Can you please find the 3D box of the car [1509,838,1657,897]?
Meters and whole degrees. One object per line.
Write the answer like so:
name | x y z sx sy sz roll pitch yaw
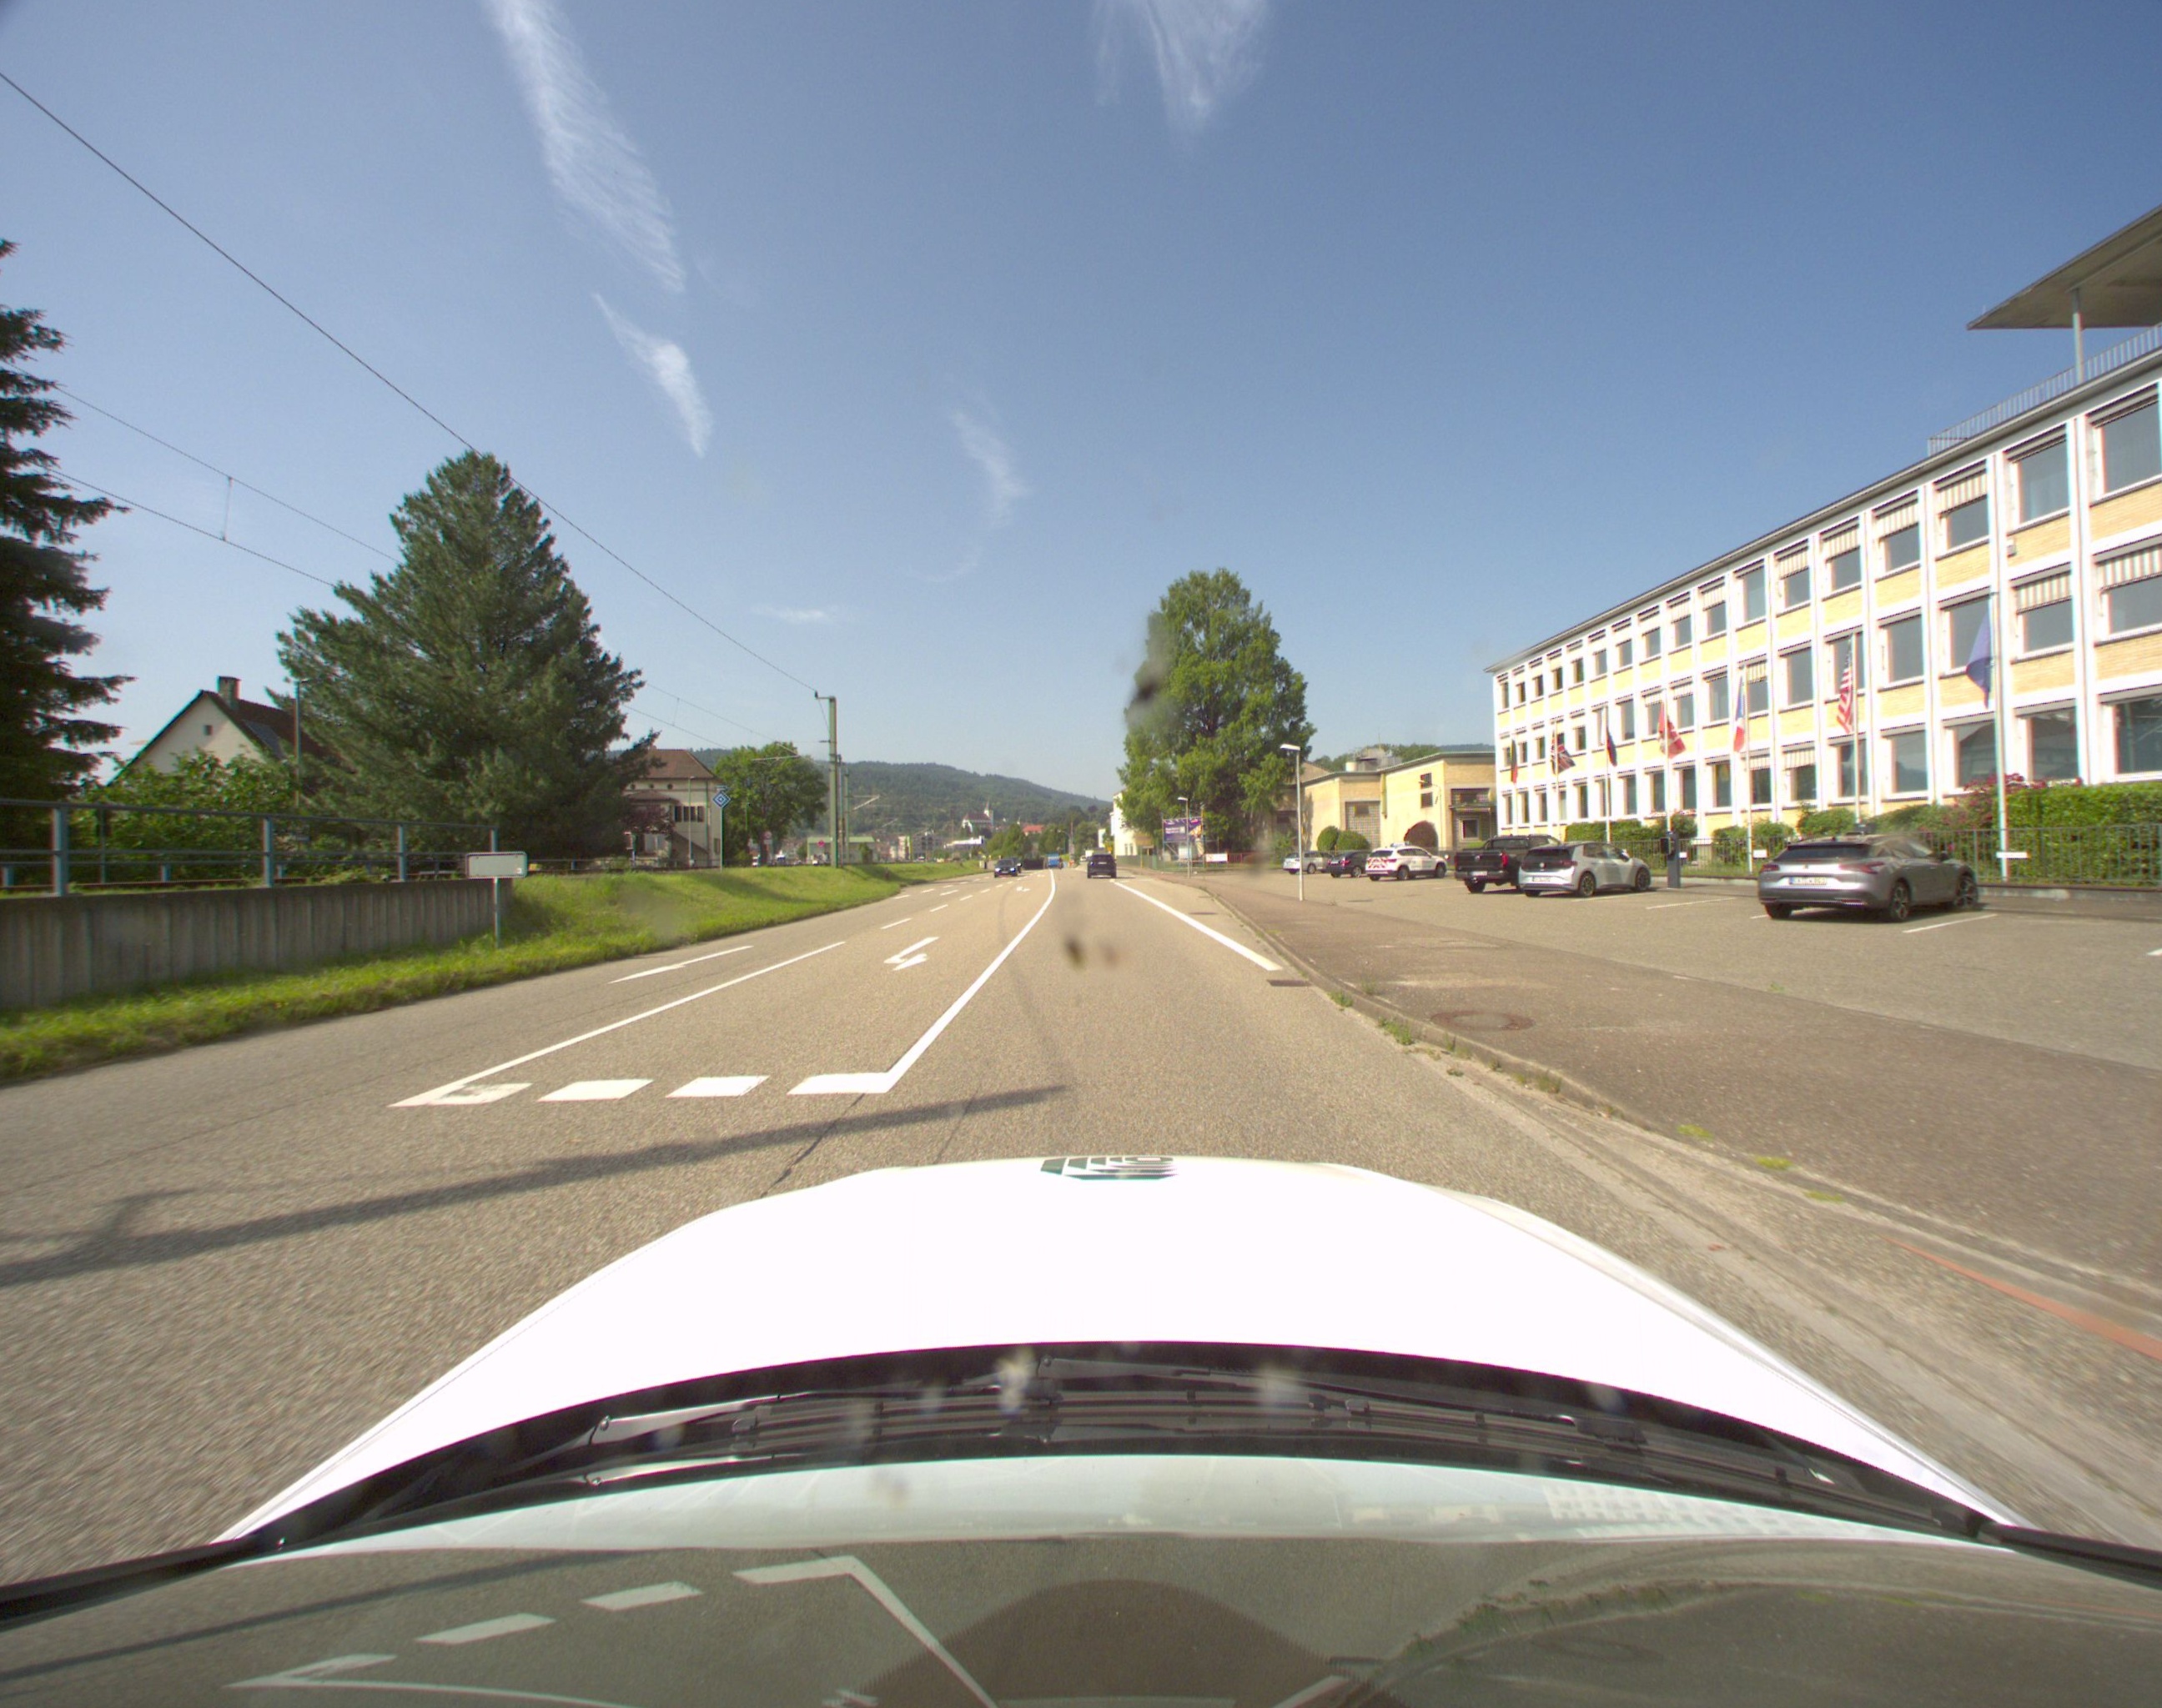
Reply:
car | 14.433 0.363 23.403 4.010 1.505 1.869 -2 0 -29

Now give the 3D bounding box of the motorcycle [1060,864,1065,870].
motorcycle | -2.245 1.593 99.506 0.604 0.753 1.414 -1 0 0

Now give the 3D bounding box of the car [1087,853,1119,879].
car | 1.433 0.767 53.725 1.914 1.640 3.998 -1 0 -1

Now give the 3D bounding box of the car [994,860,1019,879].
car | -5.932 1.229 64.971 1.751 1.429 3.997 -1 0 -2

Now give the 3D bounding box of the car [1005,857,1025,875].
car | -6.415 1.140 79.019 1.751 1.640 3.996 -1 0 -3

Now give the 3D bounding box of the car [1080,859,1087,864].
car | 0.746 2.027 220.266 1.760 1.486 4.001 0 -1 2

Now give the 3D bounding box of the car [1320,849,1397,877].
car | 14.902 0.475 43.682 4.013 1.401 1.648 -1 0 -31

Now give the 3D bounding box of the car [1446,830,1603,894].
car | 14.250 0.204 26.106 5.050 1.832 1.964 -2 0 -29

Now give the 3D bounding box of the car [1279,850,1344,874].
car | 14.673 0.497 51.846 4.013 1.401 1.648 -1 0 -31

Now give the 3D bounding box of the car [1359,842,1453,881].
car | 15.195 0.322 38.008 4.185 1.672 1.852 -1 0 -29

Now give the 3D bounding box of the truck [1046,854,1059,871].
truck | -5.309 1.502 150.694 2.307 2.970 5.960 -1 0 -2

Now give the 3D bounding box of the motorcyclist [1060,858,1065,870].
motorcyclist | -2.287 1.228 99.512 0.604 1.520 0.863 -1 0 0

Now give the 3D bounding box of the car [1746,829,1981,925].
car | 14.411 0.358 14.969 4.323 1.505 1.869 -2 0 -29
